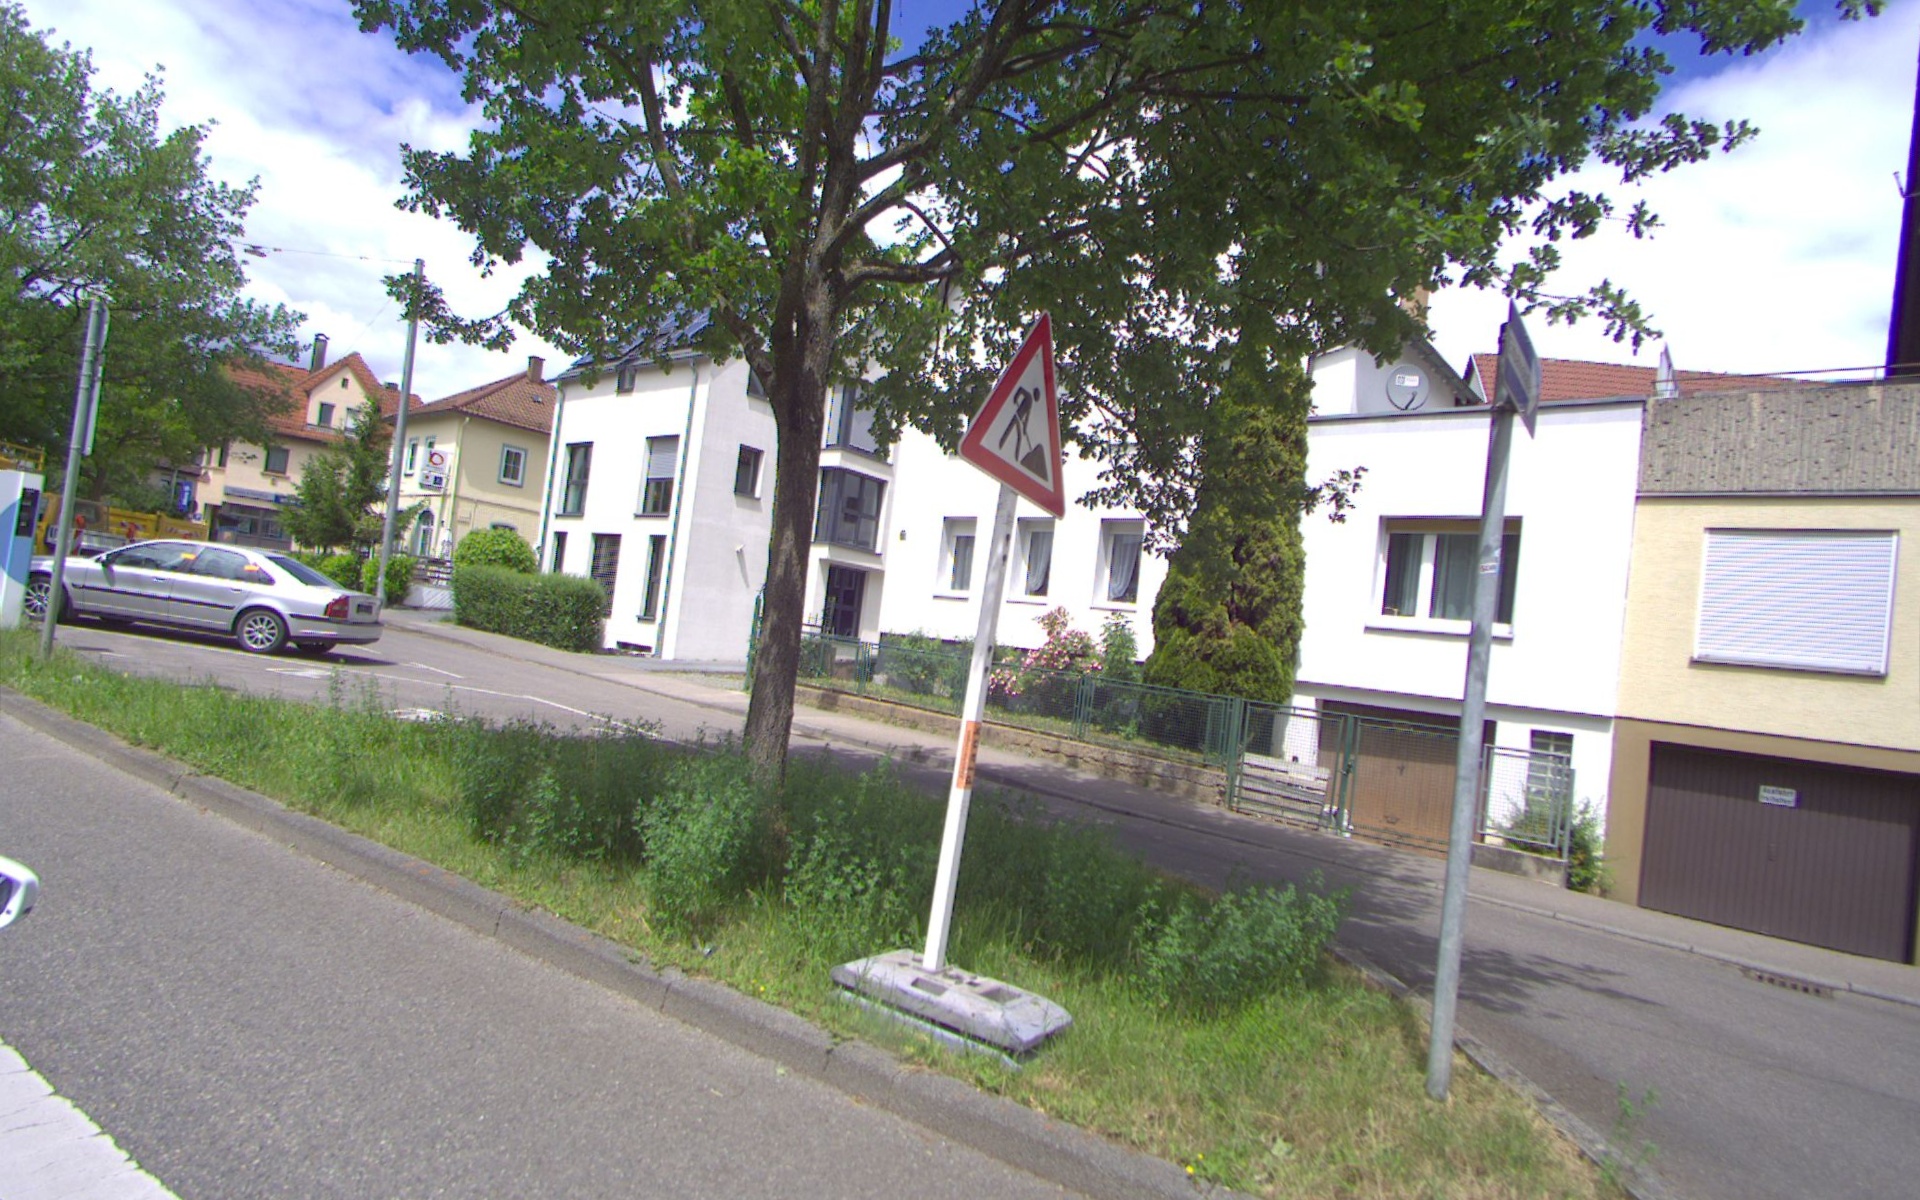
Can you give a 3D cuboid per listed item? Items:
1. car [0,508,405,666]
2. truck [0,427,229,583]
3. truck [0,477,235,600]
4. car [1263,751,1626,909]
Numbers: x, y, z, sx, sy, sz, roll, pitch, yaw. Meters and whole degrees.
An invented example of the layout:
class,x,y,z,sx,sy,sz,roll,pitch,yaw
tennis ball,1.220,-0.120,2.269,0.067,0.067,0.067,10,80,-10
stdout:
class,x,y,z,sx,sy,sz,roll,pitch,yaw
car,-10.983,-0.132,14.633,4.614,1.467,1.766,9,-3,-11
truck,-23.556,-2.581,25.992,6.604,3.038,2.768,9,-5,-13
truck,-20.898,-1.524,23.748,5.584,2.034,2.000,9,-5,-9
car,5.970,2.776,12.621,3.816,1.136,1.464,4,-6,39
